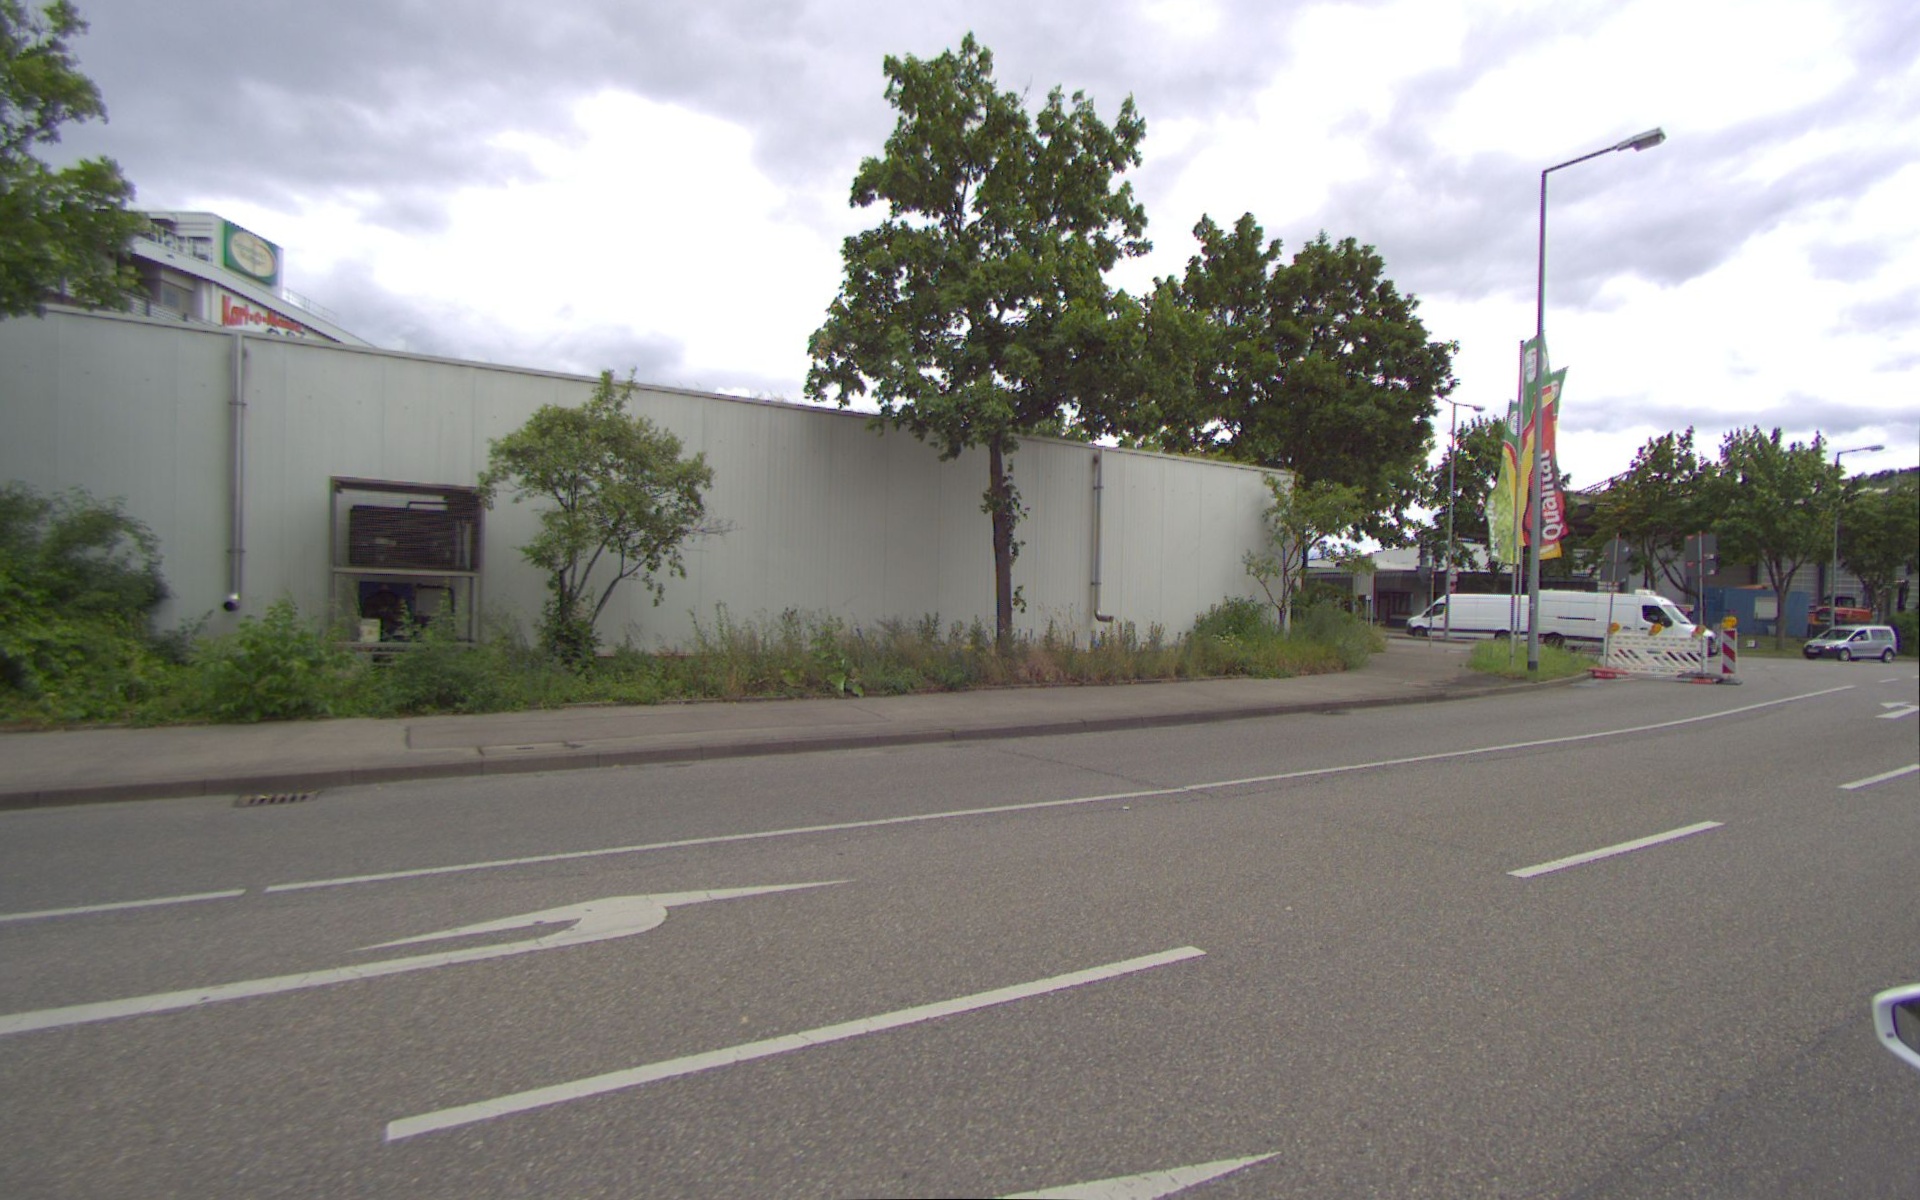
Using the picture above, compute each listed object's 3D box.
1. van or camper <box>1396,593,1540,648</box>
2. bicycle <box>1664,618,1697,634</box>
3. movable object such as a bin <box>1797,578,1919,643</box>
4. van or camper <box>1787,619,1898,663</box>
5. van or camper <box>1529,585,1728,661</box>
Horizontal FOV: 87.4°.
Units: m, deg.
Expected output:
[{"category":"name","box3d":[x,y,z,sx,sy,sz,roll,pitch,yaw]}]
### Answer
[{"category":"van or camper","box3d":[27.343,1.040,54.333,2.315,2.591,6.491,1,2,-43]},{"category":"bicycle","box3d":[47.168,1.683,65.782,1.728,0.987,0.663,2,0,-5]},{"category":"movable object such as a bin","box3d":[61.112,0.741,68.234,6.427,4.145,2.732,2,0,-4]},{"category":"van or camper","box3d":[44.774,2.070,50.987,4.199,1.990,1.955,2,1,-9]},{"category":"van or camper","box3d":[26.195,0.833,39.608,2.253,2.591,6.041,1,2,-38]}]
